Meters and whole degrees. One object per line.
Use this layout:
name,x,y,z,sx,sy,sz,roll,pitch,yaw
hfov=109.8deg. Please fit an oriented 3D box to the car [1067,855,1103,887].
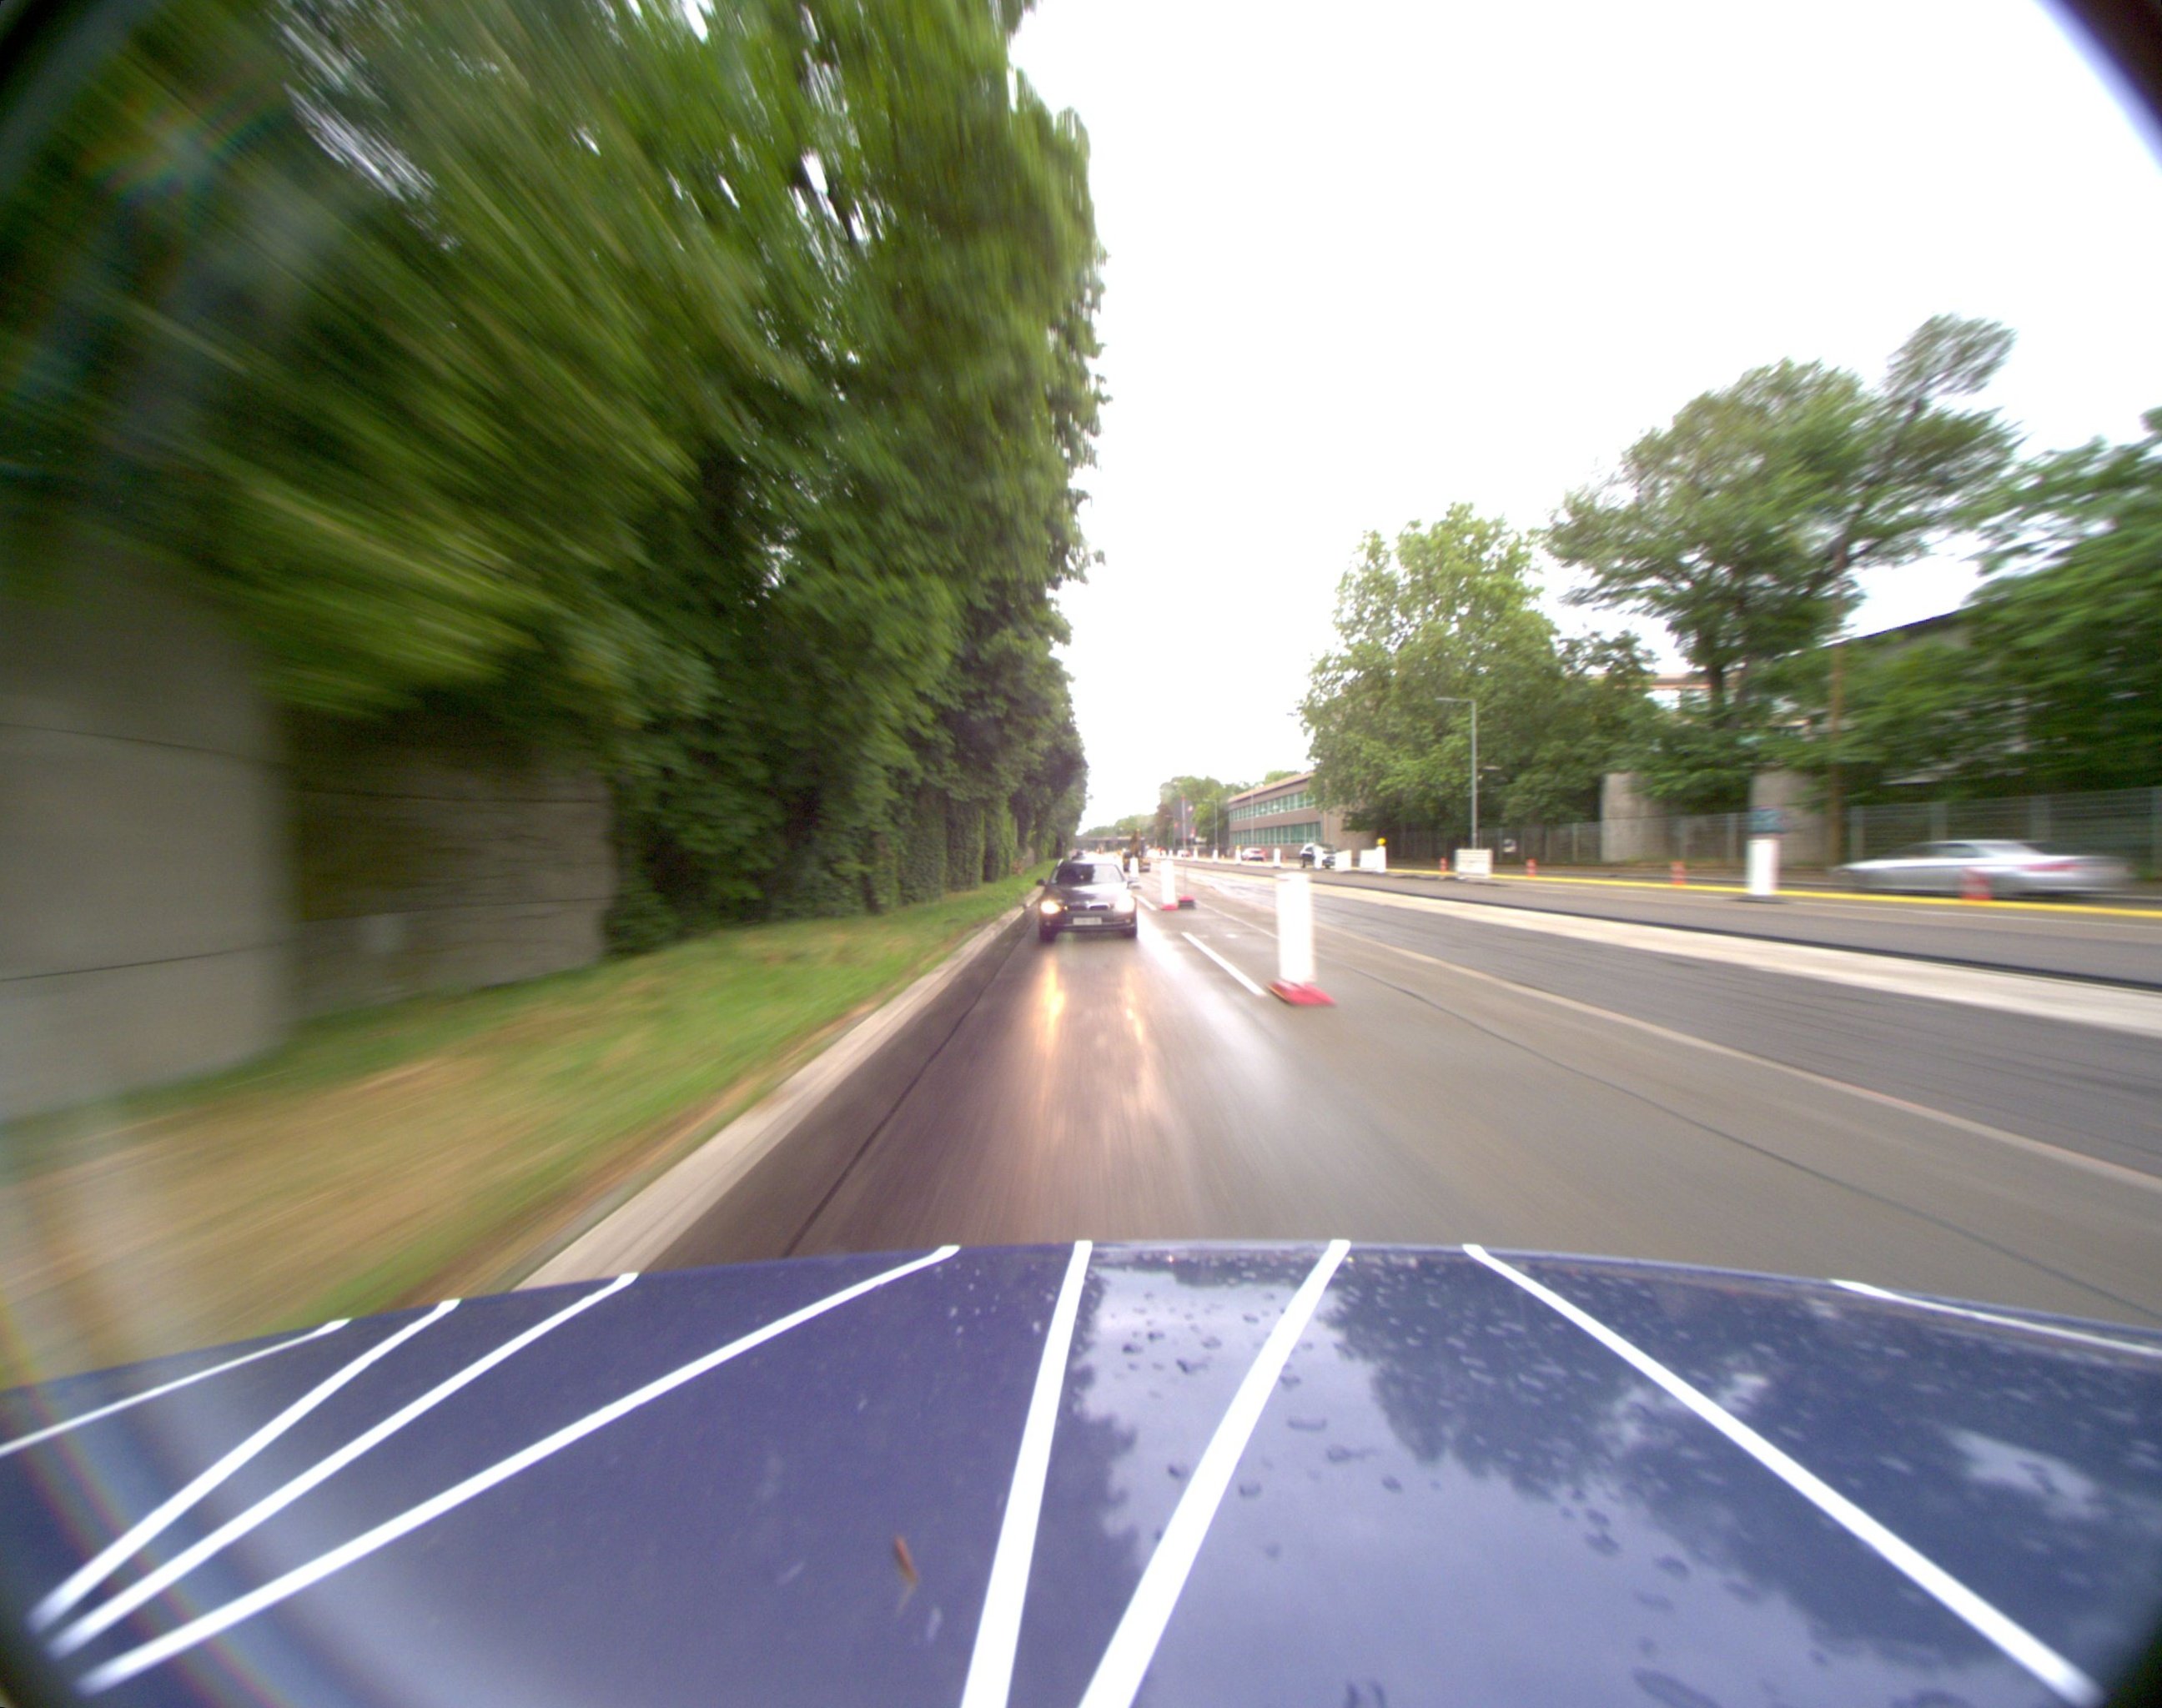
car,0.204,0.821,39.503,1.742,1.454,4.457,-1,1,1

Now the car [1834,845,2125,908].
car,21.026,0.449,18.143,1.671,1.308,4.454,1,1,1

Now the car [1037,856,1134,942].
car,0.020,0.835,16.183,1.743,1.454,4.457,-1,1,-2

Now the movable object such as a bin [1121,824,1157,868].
movable object such as a bin,4.286,-0.576,56.890,1.999,3.084,5.622,-1,1,-3

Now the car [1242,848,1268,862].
car,18.959,0.083,82.908,1.841,1.426,4.148,-1,1,0

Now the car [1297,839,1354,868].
car,15.615,-0.034,48.822,1.998,1.696,4.984,2,0,0
